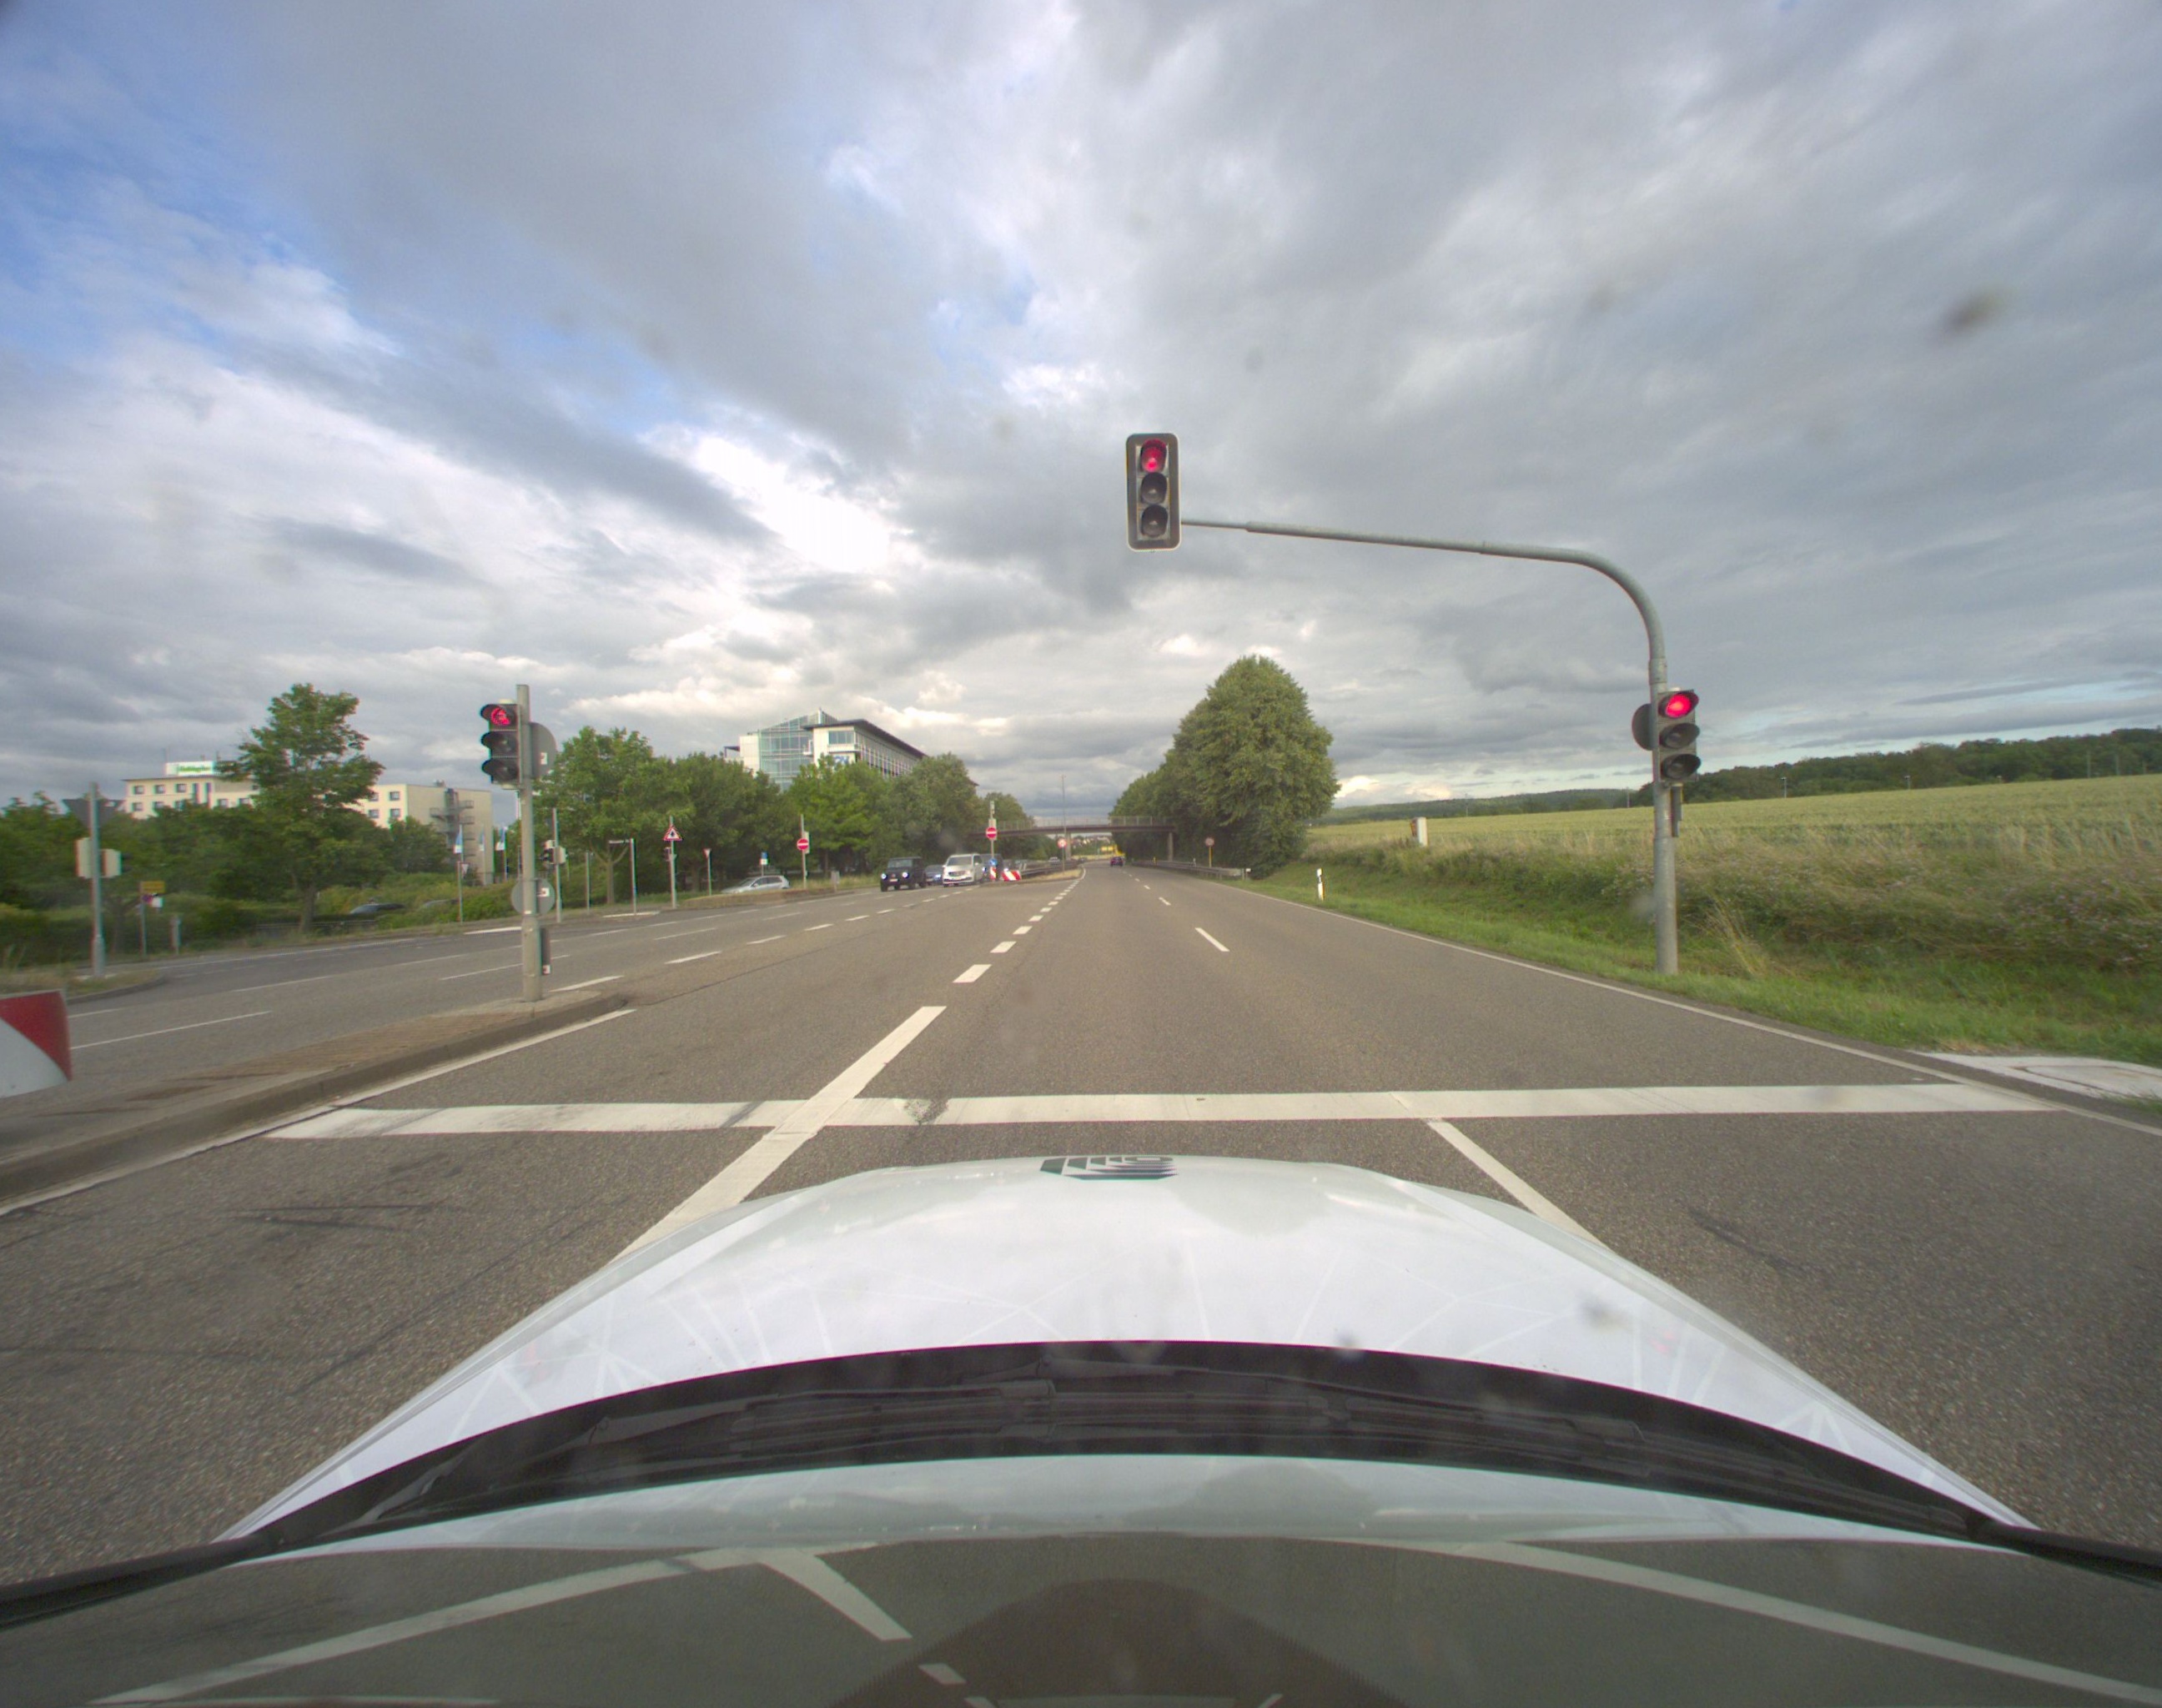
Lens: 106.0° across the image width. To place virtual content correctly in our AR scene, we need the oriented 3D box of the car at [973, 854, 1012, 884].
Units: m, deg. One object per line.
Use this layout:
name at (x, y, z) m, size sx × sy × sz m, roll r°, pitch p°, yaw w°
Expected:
car at (-6.183, 1.060, 57.403) m, size 2.076 × 2.014 × 5.216 m, roll 0°, pitch -1°, yaw 1°

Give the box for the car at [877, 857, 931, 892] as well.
car at (-10.720, 1.178, 49.658) m, size 2.076 × 2.014 × 5.216 m, roll 0°, pitch -1°, yaw 1°

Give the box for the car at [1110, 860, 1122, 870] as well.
car at (5.554, 1.676, 130.107) m, size 1.873 × 1.552 × 4.001 m, roll 0°, pitch -1°, yaw 1°

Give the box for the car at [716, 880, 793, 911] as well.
car at (-18.899, 2.375, 47.254) m, size 1.566 × 1.342 × 3.775 m, roll -5°, pitch 0°, yaw 37°

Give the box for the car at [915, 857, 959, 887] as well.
car at (-10.024, 1.240, 57.147) m, size 2.076 × 2.014 × 5.216 m, roll 0°, pitch -1°, yaw 1°

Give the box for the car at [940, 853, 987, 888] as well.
car at (-7.100, 0.954, 49.684) m, size 2.076 × 2.014 × 5.216 m, roll 0°, pitch -1°, yaw 1°

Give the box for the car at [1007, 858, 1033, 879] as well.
car at (-5.956, 1.417, 79.649) m, size 2.076 × 2.014 × 5.216 m, roll 0°, pitch -1°, yaw 1°
